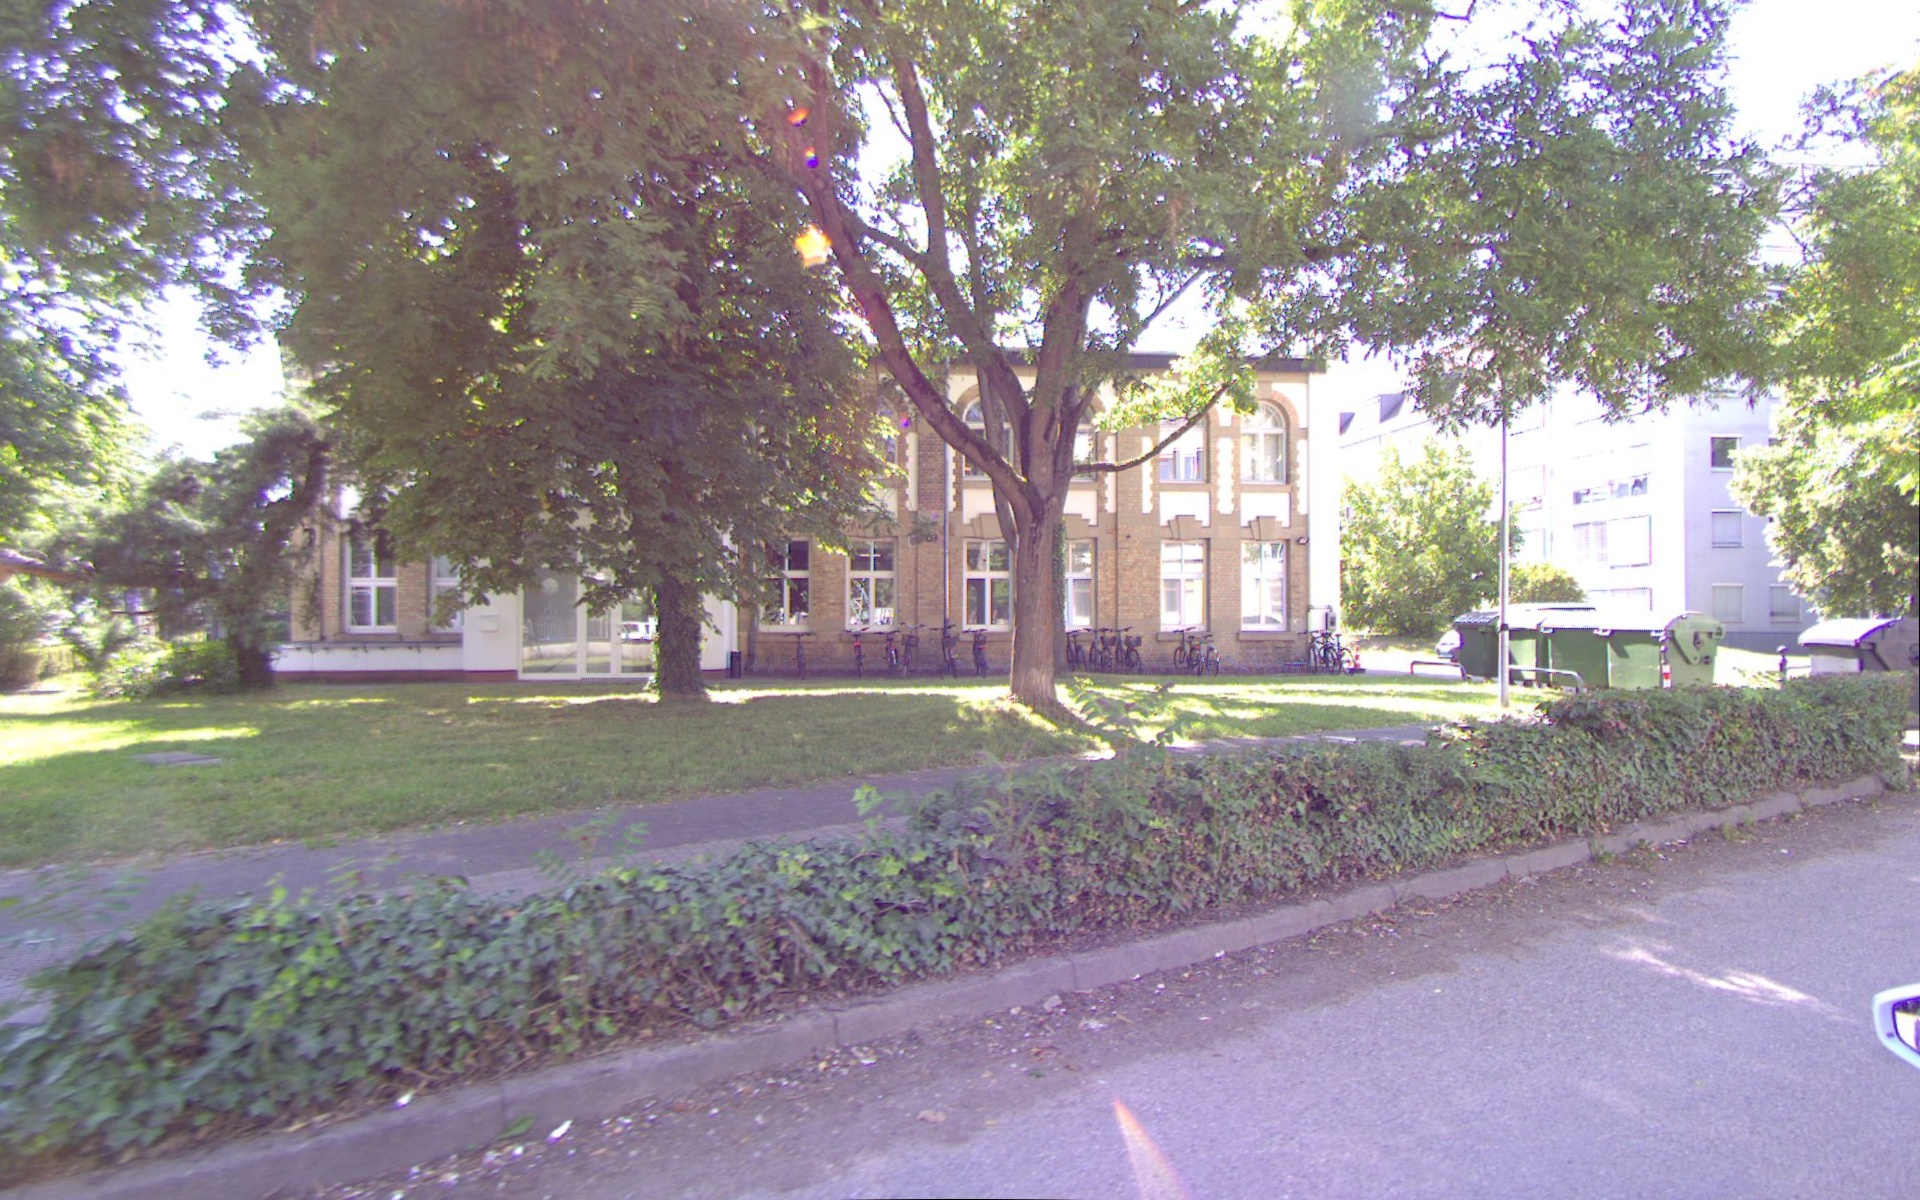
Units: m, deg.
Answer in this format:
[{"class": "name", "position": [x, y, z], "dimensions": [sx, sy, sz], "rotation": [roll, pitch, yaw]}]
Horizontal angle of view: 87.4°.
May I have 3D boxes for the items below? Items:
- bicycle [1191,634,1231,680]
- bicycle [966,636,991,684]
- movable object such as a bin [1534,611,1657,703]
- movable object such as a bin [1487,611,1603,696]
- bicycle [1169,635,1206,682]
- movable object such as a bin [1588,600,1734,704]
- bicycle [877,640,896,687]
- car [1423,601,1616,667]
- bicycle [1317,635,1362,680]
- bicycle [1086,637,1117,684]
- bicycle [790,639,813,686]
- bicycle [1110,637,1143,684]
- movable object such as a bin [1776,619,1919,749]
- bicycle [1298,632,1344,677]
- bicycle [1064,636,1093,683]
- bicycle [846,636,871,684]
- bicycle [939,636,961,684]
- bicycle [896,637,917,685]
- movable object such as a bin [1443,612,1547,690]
[{"class": "bicycle", "position": [5.883, 1.318, 23.610], "dimensions": [0.437, 1.005, 1.685], "rotation": [-1, 0, -2]}, {"class": "bicycle", "position": [0.418, 1.360, 23.105], "dimensions": [0.437, 1.005, 1.540], "rotation": [-1, 0, -4]}, {"class": "movable object such as a bin", "position": [10.510, 0.919, 16.653], "dimensions": [1.228, 1.450, 1.219], "rotation": [0, -1, -16]}, {"class": "movable object such as a bin", "position": [10.463, 0.937, 18.041], "dimensions": [1.225, 1.450, 1.365], "rotation": [0, -1, -6]}, {"class": "bicycle", "position": [5.319, 1.351, 23.558], "dimensions": [0.437, 1.005, 1.666], "rotation": [-1, 0, -2]}, {"class": "movable object such as a bin", "position": [10.598, 0.765, 15.251], "dimensions": [1.226, 1.501, 1.337], "rotation": [0, -1, -10]}, {"class": "bicycle", "position": [-1.676, 1.419, 22.882], "dimensions": [0.367, 1.002, 1.600], "rotation": [0, -1, -2]}, {"class": "car", "position": [17.290, 1.043, 31.194], "dimensions": [4.943, 1.958, 1.999], "rotation": [0, -1, -4]}, {"class": "bicycle", "position": [9.088, 1.359, 24.119], "dimensions": [0.437, 1.005, 1.541], "rotation": [-1, 0, -2]}, {"class": "bicycle", "position": [3.287, 1.385, 23.414], "dimensions": [0.437, 1.005, 1.541], "rotation": [-1, 0, -2]}, {"class": "bicycle", "position": [-3.577, 1.398, 22.696], "dimensions": [0.437, 1.005, 1.540], "rotation": [1, -2, -6]}, {"class": "bicycle", "position": [3.875, 1.391, 23.468], "dimensions": [0.437, 1.005, 1.541], "rotation": [-1, 0, -2]}, {"class": "movable object such as a bin", "position": [10.532, 0.927, 11.587], "dimensions": [1.223, 1.415, 1.405], "rotation": [-1, -1, 13]}, {"class": "bicycle", "position": [8.615, 1.290, 24.022], "dimensions": [0.437, 1.005, 1.630], "rotation": [-1, 0, -2]}, {"class": "bicycle", "position": [2.745, 1.371, 23.365], "dimensions": [0.437, 1.005, 1.541], "rotation": [-1, 0, -2]}, {"class": "bicycle", "position": [-2.284, 1.349, 22.761], "dimensions": [0.437, 1.005, 1.541], "rotation": [-1, 0, -2]}, {"class": "bicycle", "position": [-0.235, 1.346, 22.943], "dimensions": [0.437, 1.005, 1.541], "rotation": [-1, 0, -2]}, {"class": "bicycle", "position": [-1.204, 1.378, 22.929], "dimensions": [0.437, 1.005, 1.541], "rotation": [-1, 0, -2]}, {"class": "movable object such as a bin", "position": [10.383, 0.966, 19.550], "dimensions": [1.225, 1.450, 1.349], "rotation": [0, -1, -6]}]
